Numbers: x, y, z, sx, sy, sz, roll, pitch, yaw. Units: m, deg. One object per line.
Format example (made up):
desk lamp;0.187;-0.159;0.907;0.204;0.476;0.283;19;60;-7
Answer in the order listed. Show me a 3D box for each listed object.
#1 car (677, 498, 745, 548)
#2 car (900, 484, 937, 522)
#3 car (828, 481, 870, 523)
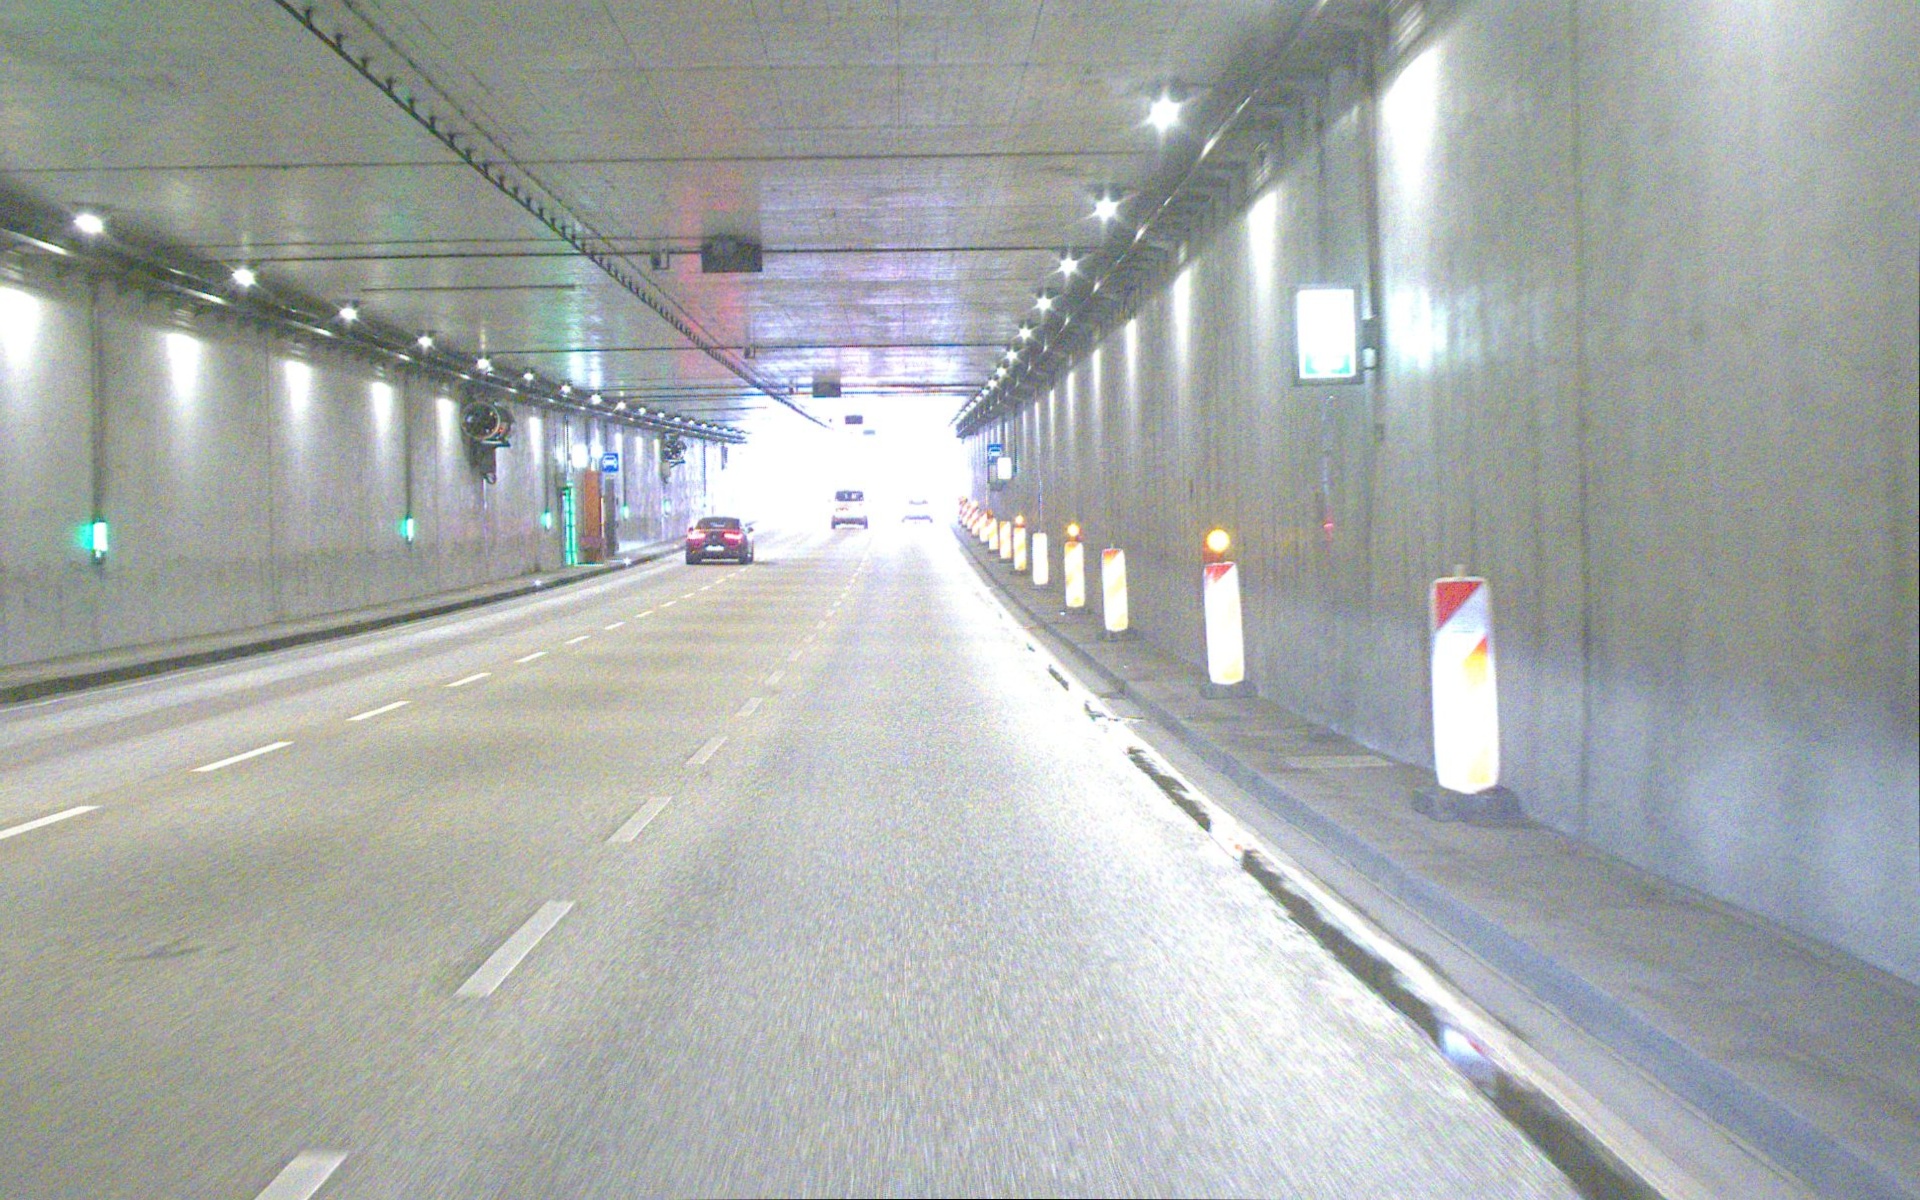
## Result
car;-7.593;-2.351;104.506;1.993;1.443;4.315;1;1;-5
car;-2.242;-5.247;185.915;1.993;2.007;4.000;0;1;-1
car;-5.443;-4.814;169.285;1.993;2.007;4.000;0;1;-1
